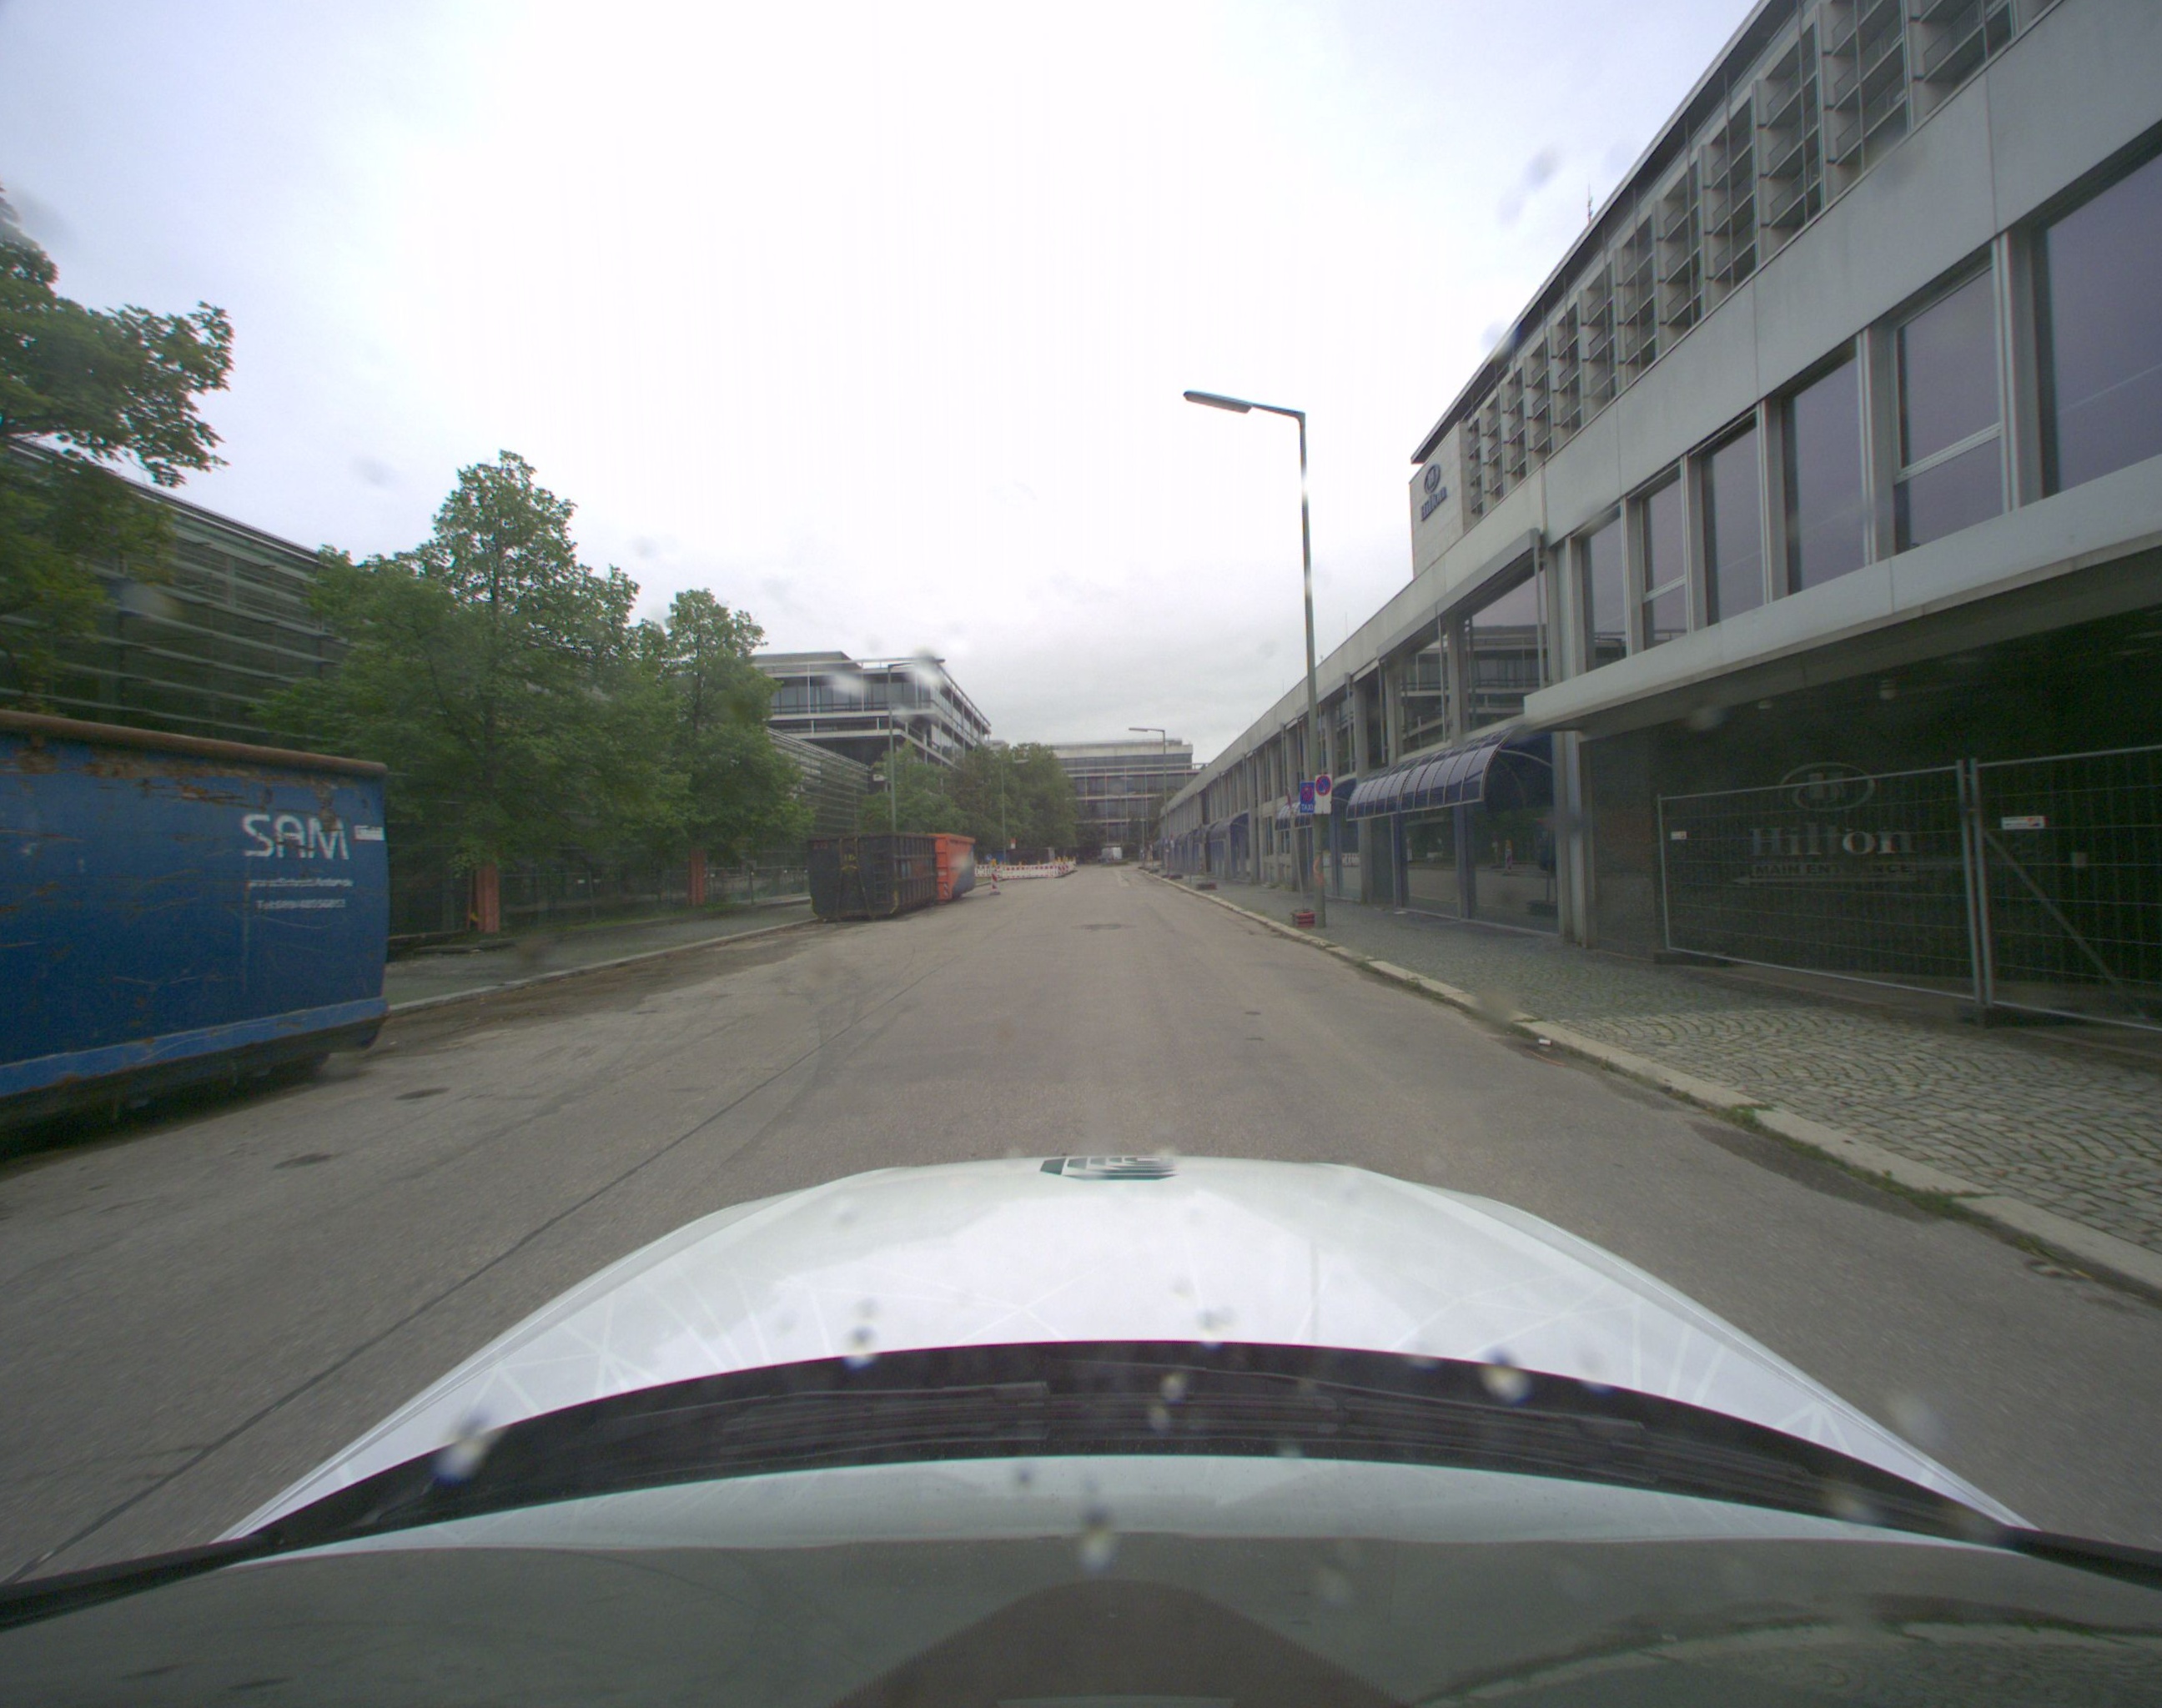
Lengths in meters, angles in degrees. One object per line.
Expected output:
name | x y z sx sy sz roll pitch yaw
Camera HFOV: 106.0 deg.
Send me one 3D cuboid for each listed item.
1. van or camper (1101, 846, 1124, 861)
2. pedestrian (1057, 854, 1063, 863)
van or camper | 5.529 -0.120 143.437 2.095 2.492 5.027 -2 0 -24
pedestrian | -3.637 0.776 142.405 0.743 1.677 0.678 -2 0 -18
